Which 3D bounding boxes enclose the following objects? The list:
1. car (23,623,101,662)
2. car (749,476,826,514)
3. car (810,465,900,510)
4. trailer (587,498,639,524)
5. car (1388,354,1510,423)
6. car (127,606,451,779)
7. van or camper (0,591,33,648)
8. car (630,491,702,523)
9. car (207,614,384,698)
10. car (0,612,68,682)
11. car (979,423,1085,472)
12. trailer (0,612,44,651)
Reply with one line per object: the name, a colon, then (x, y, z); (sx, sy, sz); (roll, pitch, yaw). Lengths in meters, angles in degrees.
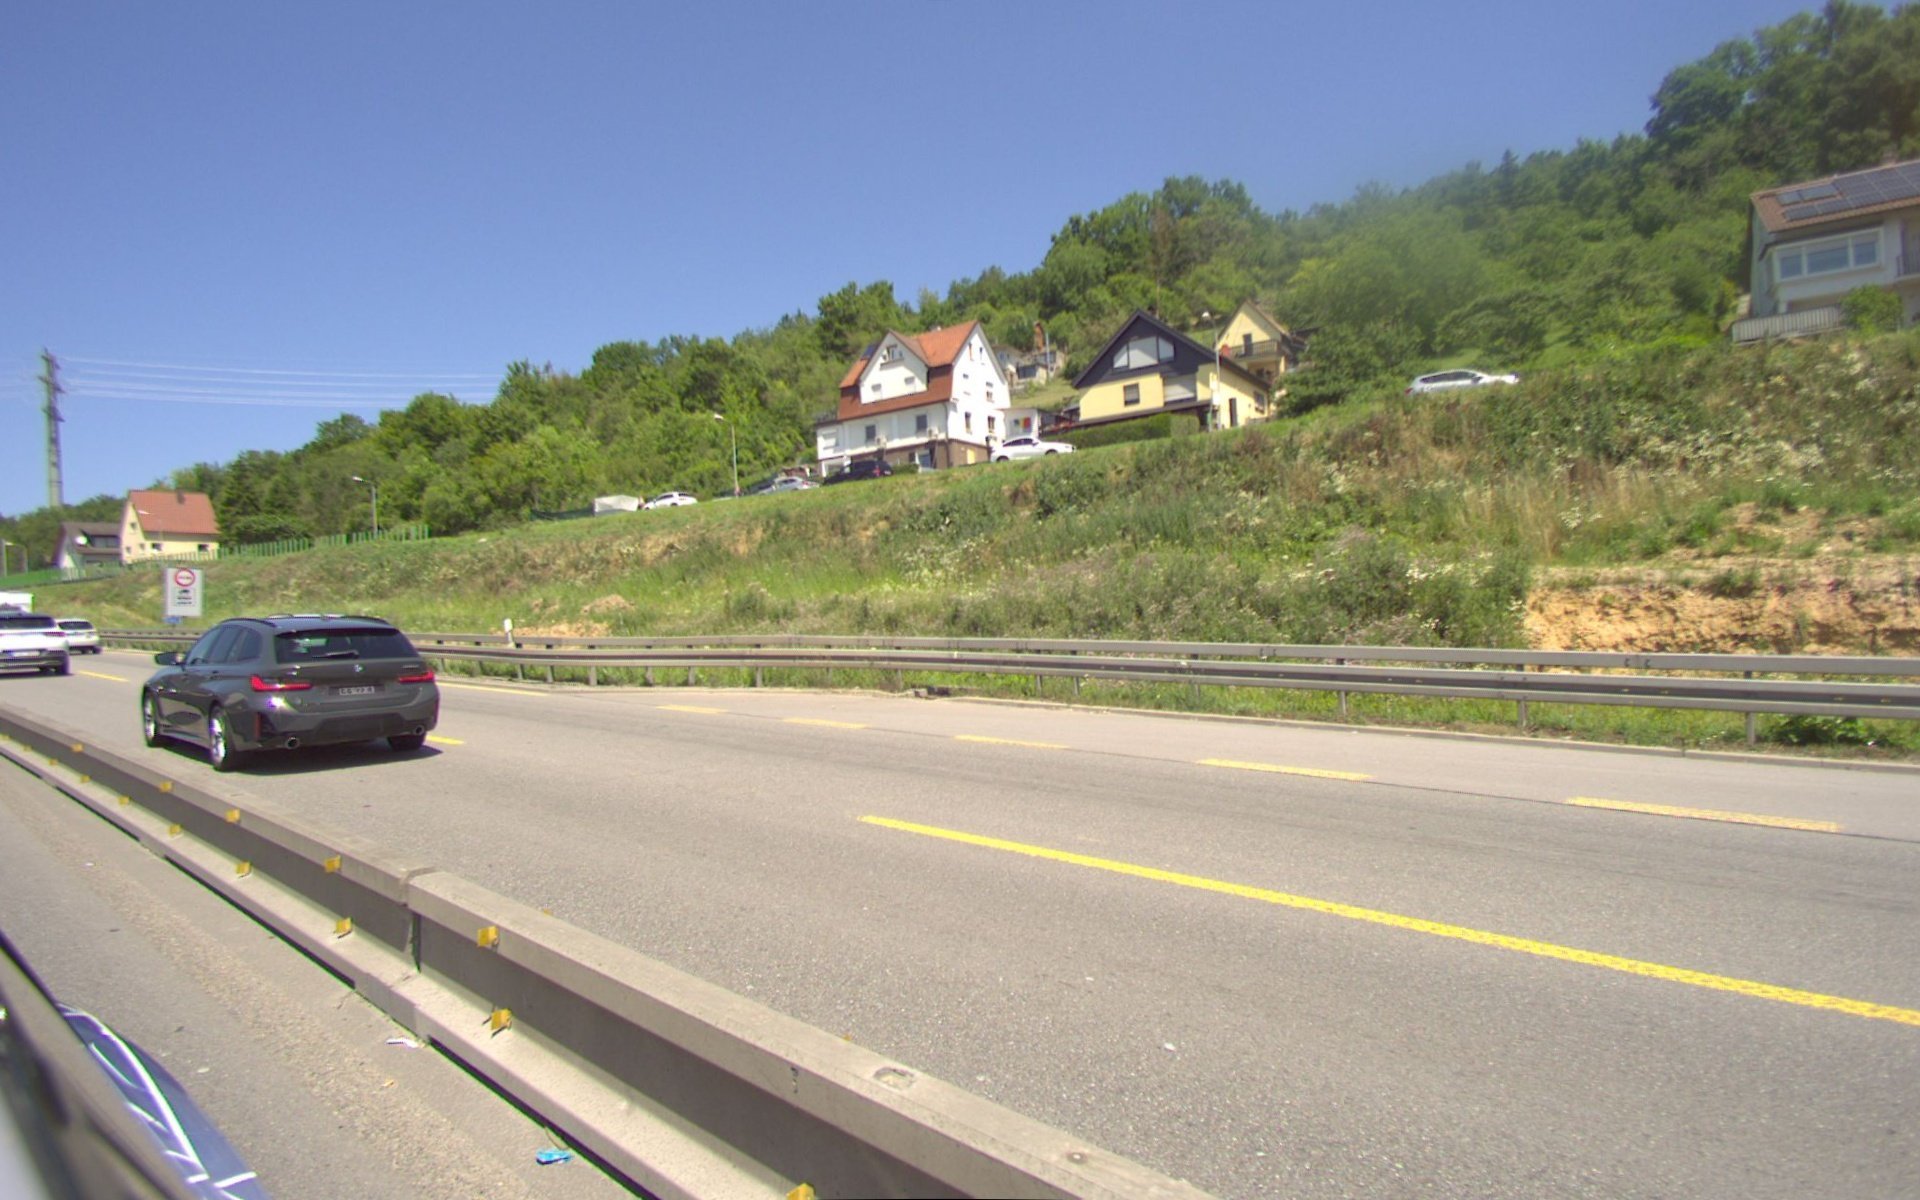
car: (-36.338, 1.682, 40.912); (4.553, 1.442, 1.791); (-1, 0, 41)
car: (-10.279, -6.196, 60.162); (4.421, 1.886, 1.976); (0, 0, 36)
car: (-5.984, -6.320, 57.361); (4.963, 2.023, 2.052); (0, 0, 36)
trailer: (-23.558, -6.028, 68.676); (3.026, 1.527, 1.888); (0, 0, 30)
car: (18.599, -7.988, 38.529); (3.990, 1.807, 1.977); (0, 0, 35)
car: (-7.245, 0.832, 10.750); (4.353, 1.477, 1.779); (-1, -2, 41)
van or camper: (-54.141, 1.108, 56.837); (6.920, 3.089, 2.267); (-1, 0, 41)
car: (-19.144, -6.022, 65.865); (4.537, 1.668, 1.979); (0, 0, 32)
car: (-13.527, 1.061, 20.498); (4.596, 1.508, 1.785); (-1, -1, 40)
car: (-24.076, 1.155, 25.543); (4.169, 1.652, 1.788); (-1, -1, 40)
car: (3.553, -7.560, 50.458); (4.999, 1.807, 1.977); (0, 0, 35)
trailer: (-49.684, 1.622, 52.919); (5.138, 1.908, 2.080); (-1, 0, 41)
